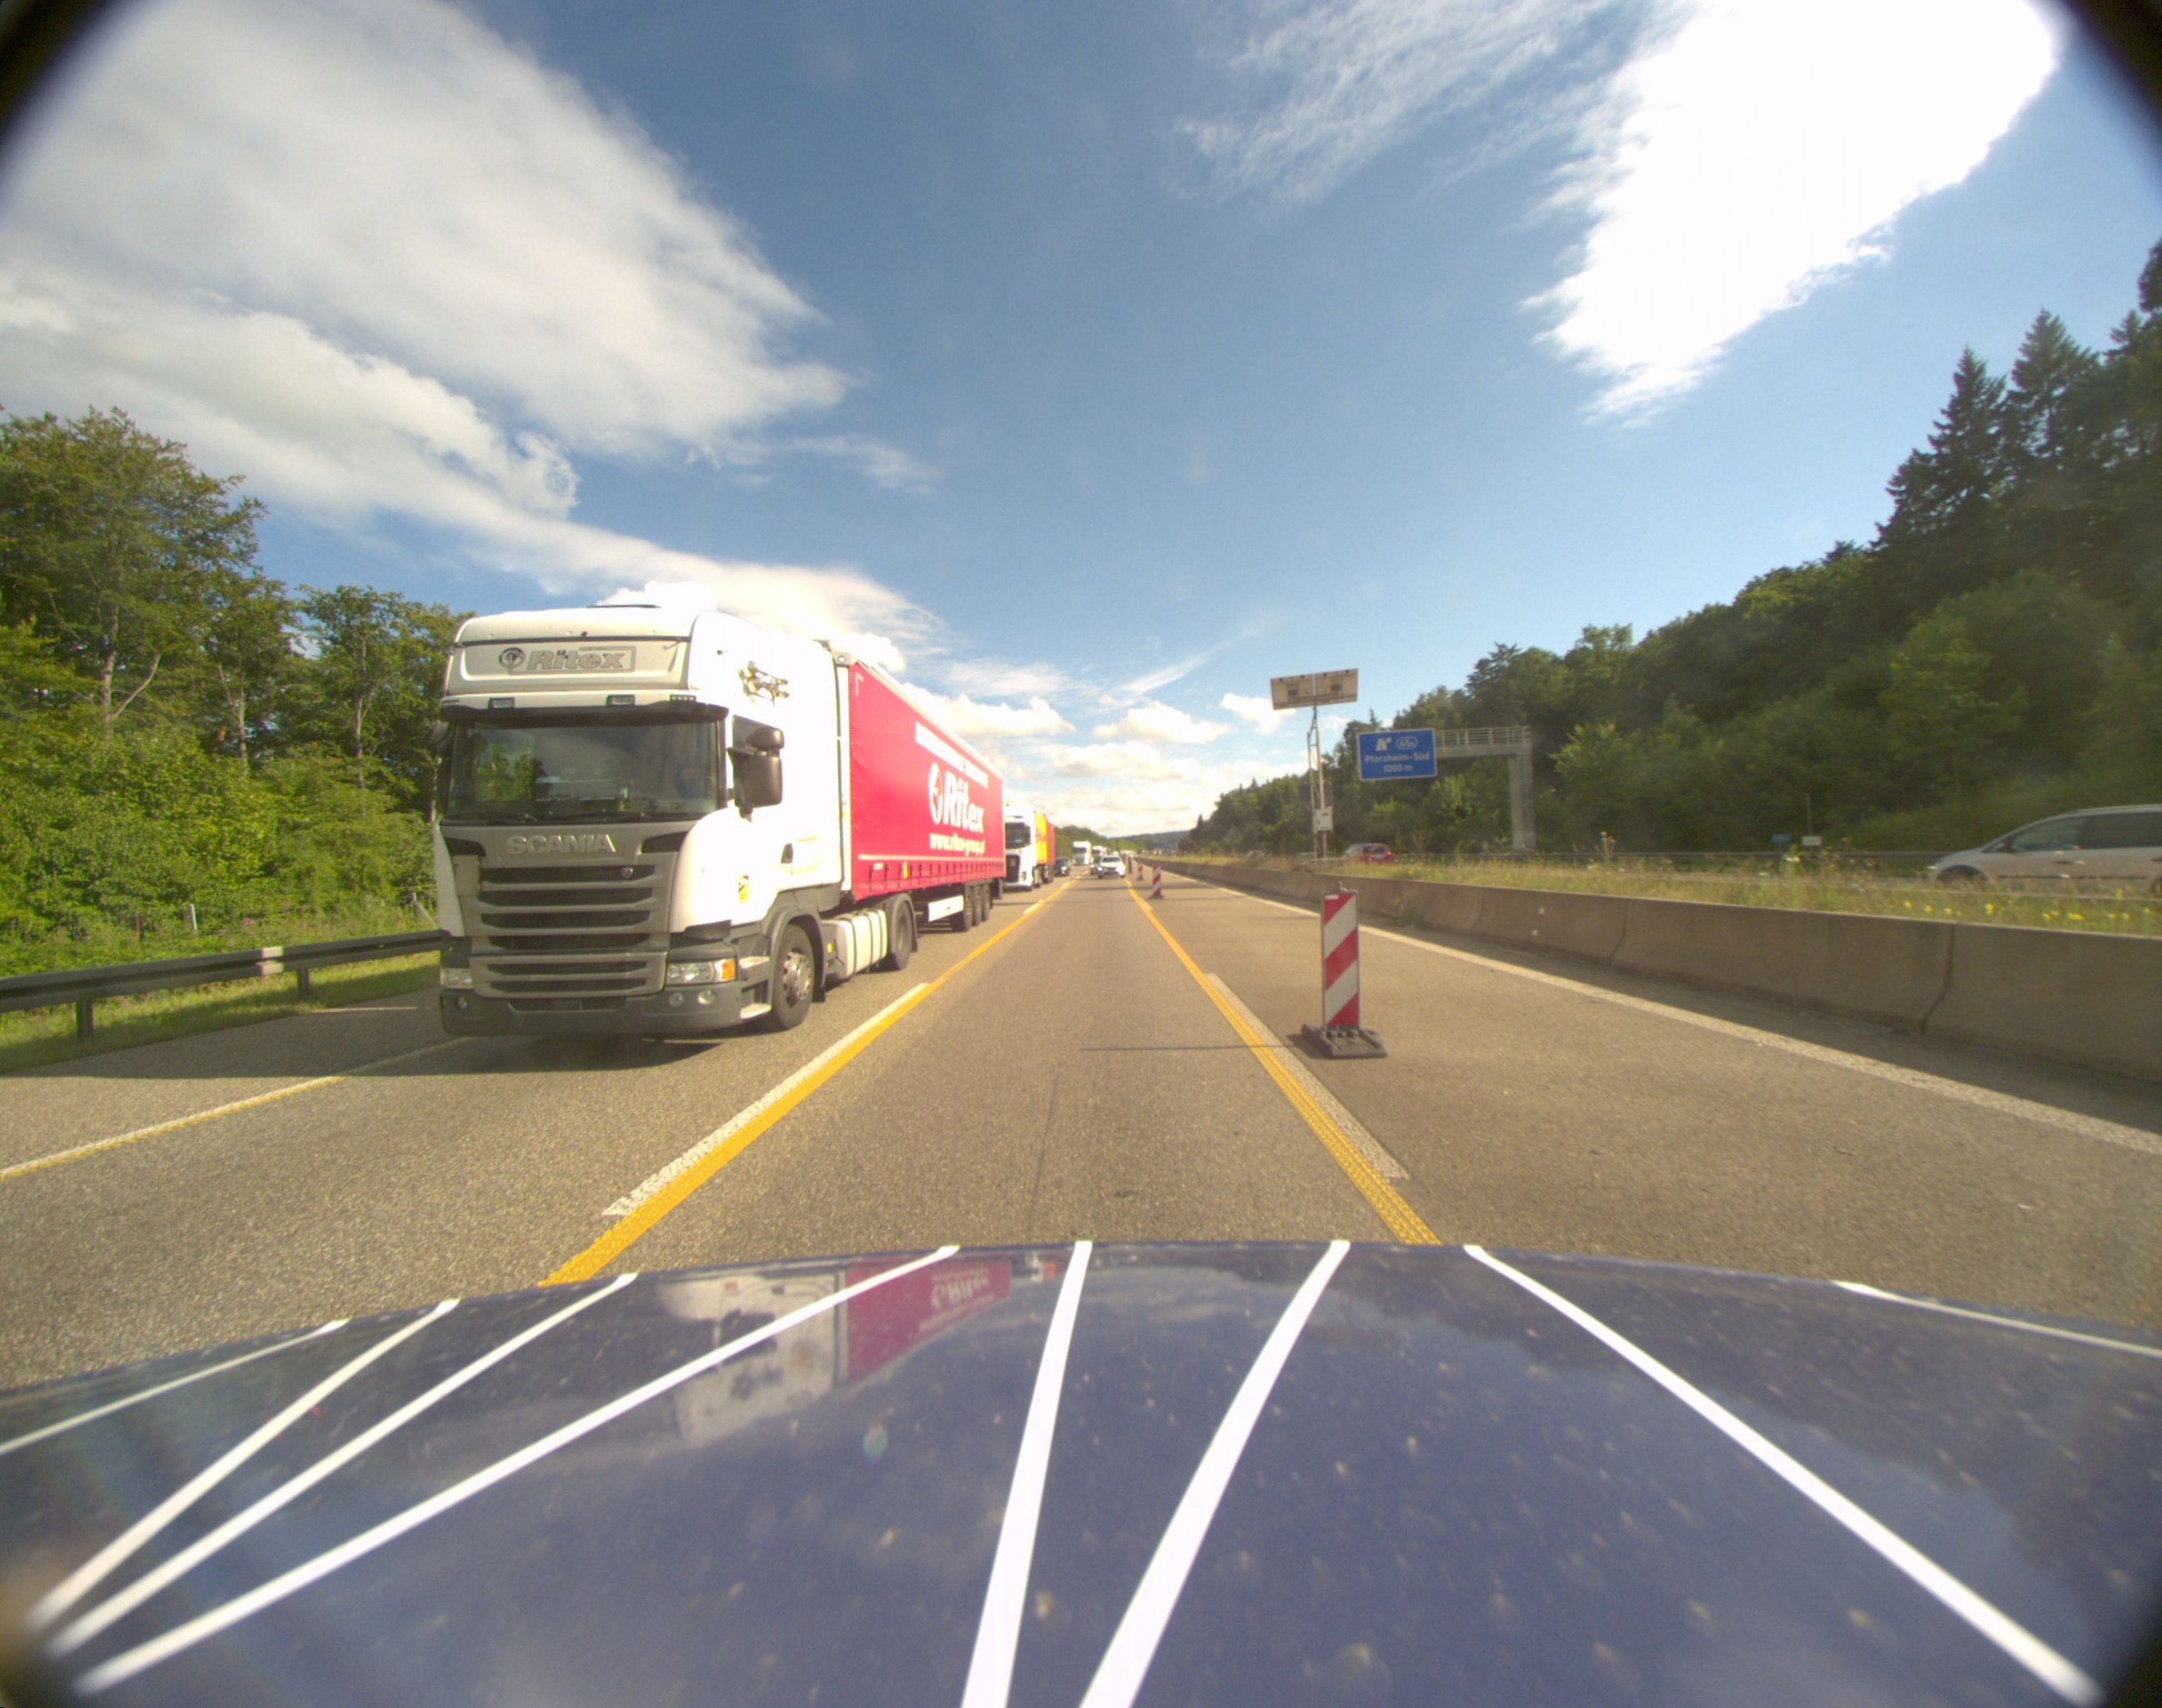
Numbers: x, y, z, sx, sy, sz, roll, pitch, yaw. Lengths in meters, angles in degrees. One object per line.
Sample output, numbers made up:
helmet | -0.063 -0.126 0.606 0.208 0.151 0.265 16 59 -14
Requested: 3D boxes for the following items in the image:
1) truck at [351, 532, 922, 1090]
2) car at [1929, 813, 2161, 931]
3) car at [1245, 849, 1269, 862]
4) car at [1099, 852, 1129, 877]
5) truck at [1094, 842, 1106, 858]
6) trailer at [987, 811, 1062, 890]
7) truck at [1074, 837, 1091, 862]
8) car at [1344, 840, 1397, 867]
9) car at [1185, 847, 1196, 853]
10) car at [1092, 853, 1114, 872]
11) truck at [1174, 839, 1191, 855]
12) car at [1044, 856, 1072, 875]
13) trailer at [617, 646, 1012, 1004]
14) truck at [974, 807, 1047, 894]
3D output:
truck | -3.811 -0.305 8.347 2.674 3.936 5.710 -2 0 1
car | 15.310 0.203 11.030 1.664 1.572 3.912 -2 1 1
car | 21.469 0.130 92.783 1.944 1.455 3.912 -2 1 1
car | 2.222 0.713 52.128 1.840 1.528 3.882 -2 1 0
truck | 5.137 -1.088 203.094 2.640 4.092 8.197 -2 0 4
trailer | -2.905 -0.218 42.972 2.477 3.753 12.138 -2 0 3
truck | 0.313 -0.721 131.613 2.641 4.092 8.195 -2 0 0
car | 16.453 -0.057 43.416 1.664 1.379 3.912 -2 1 3
car | 24.848 -0.909 173.090 1.944 1.455 3.912 -2 1 1
car | 1.829 0.682 62.210 1.692 1.471 3.754 -1 1 2
truck | 29.940 -2.074 224.511 3.844 4.350 13.052 -2 1 2
car | -1.785 0.878 61.073 1.933 1.342 4.478 -2 0 2
trailer | -3.625 -0.340 15.288 2.706 3.945 13.418 -2 0 2
truck | -3.256 -0.169 36.404 2.500 3.759 5.790 -2 1 3
